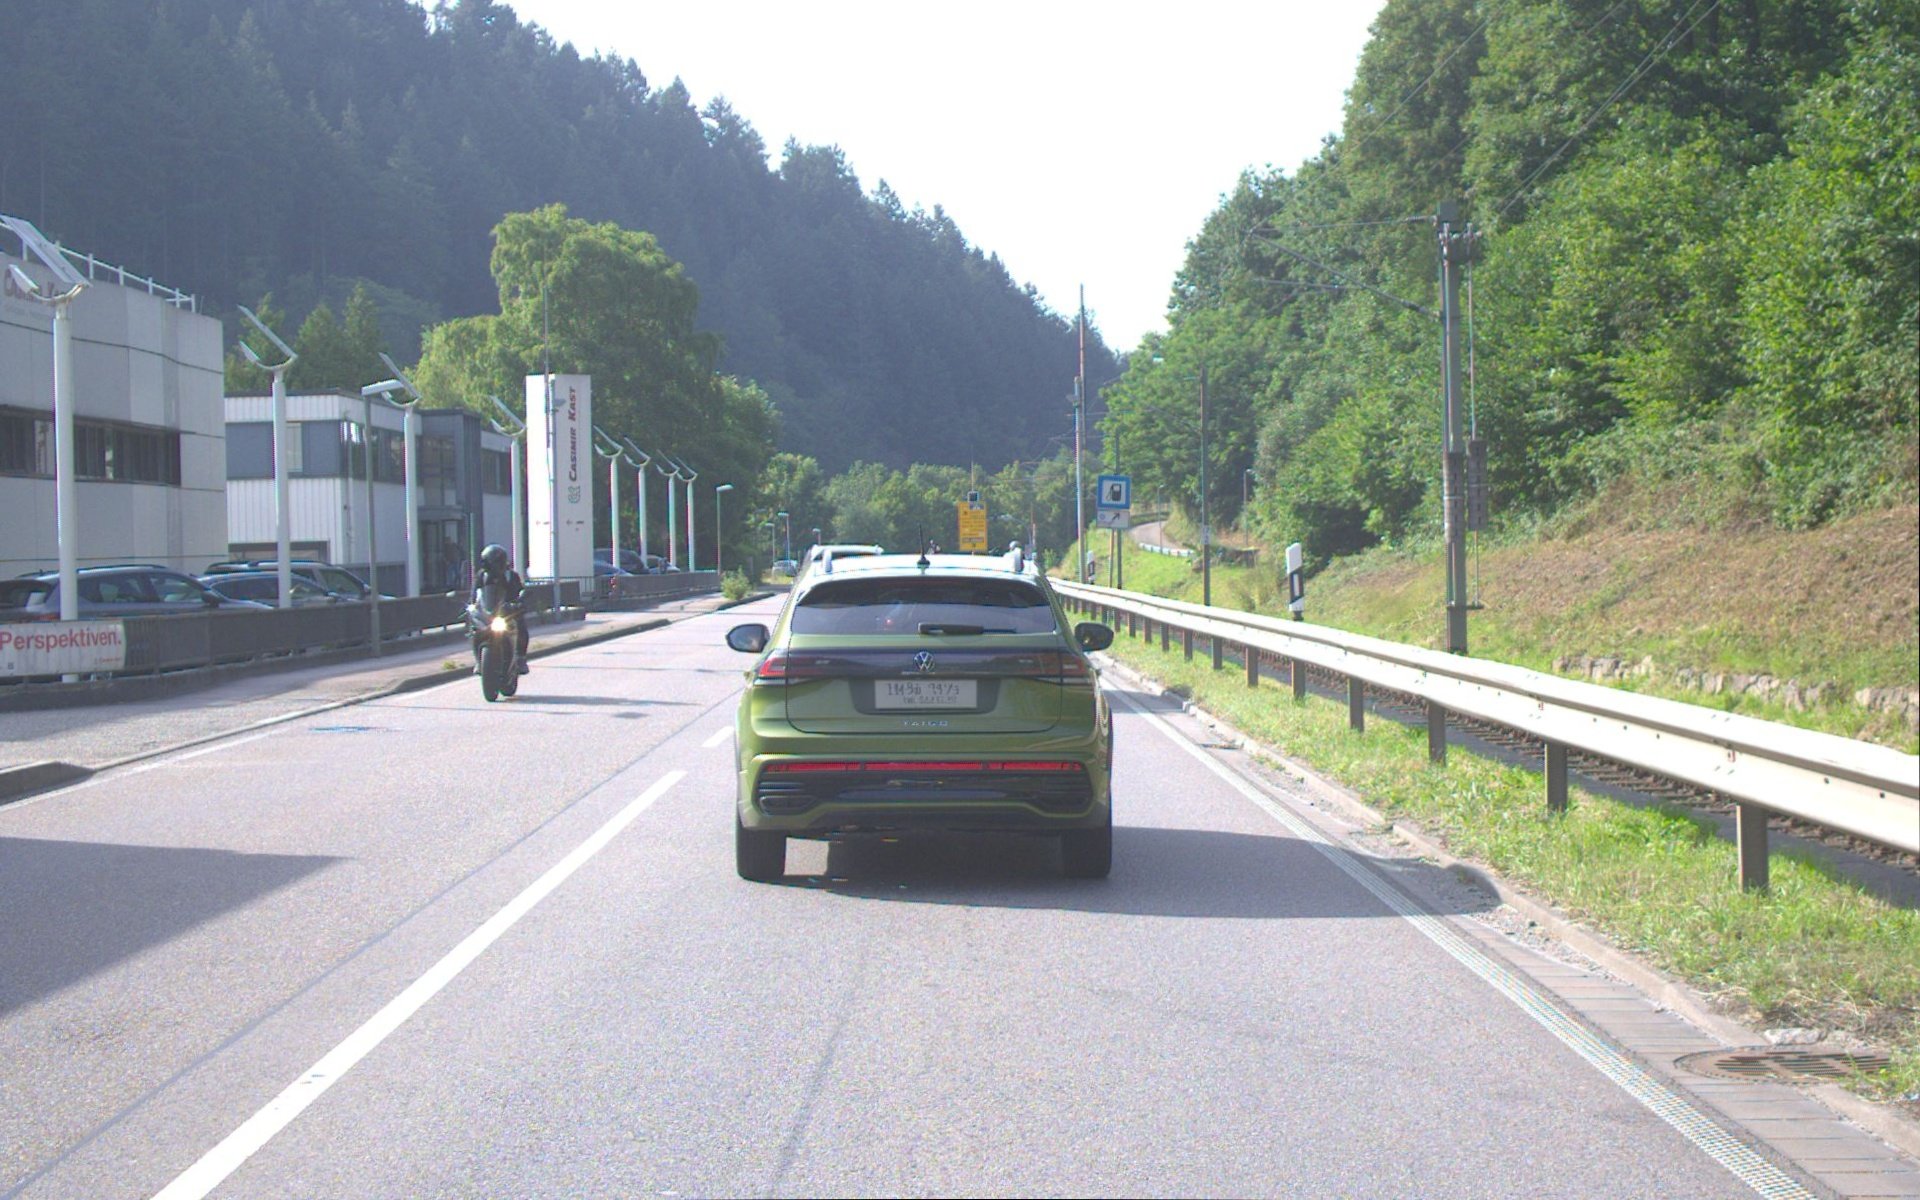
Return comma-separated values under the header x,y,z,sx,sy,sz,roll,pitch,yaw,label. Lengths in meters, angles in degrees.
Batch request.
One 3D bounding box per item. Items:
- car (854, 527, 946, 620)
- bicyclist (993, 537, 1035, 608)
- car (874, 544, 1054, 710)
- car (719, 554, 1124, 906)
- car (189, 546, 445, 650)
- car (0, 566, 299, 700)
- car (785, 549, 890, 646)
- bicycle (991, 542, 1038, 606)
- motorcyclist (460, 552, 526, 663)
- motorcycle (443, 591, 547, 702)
x,y,z,sx,sy,sz,roll,pitch,yaw,label
-1.341,-0.609,77.393,1.993,2.007,4.000,-1,1,-1,car
1.091,-0.561,69.389,0.781,1.407,0.675,-1,1,-2,bicyclist
-0.009,0.227,35.111,1.739,1.596,4.000,0,1,-1,car
-0.212,0.533,16.817,1.739,1.503,4.000,0,1,-1,car
-11.073,-0.061,59.369,1.780,1.702,4.101,0,1,41,car
-10.743,0.386,44.048,1.887,1.586,4.165,0,1,41,car
-2.067,-0.067,58.612,1.739,1.596,4.000,0,1,-1,car
1.094,-0.532,69.429,0.811,1.246,2.123,-1,1,-2,bicycle
-4.775,0.076,35.161,0.586,1.121,0.637,0,1,-1,motorcyclist
-4.754,0.455,35.291,0.741,1.065,2.492,0,1,-1,motorcycle
